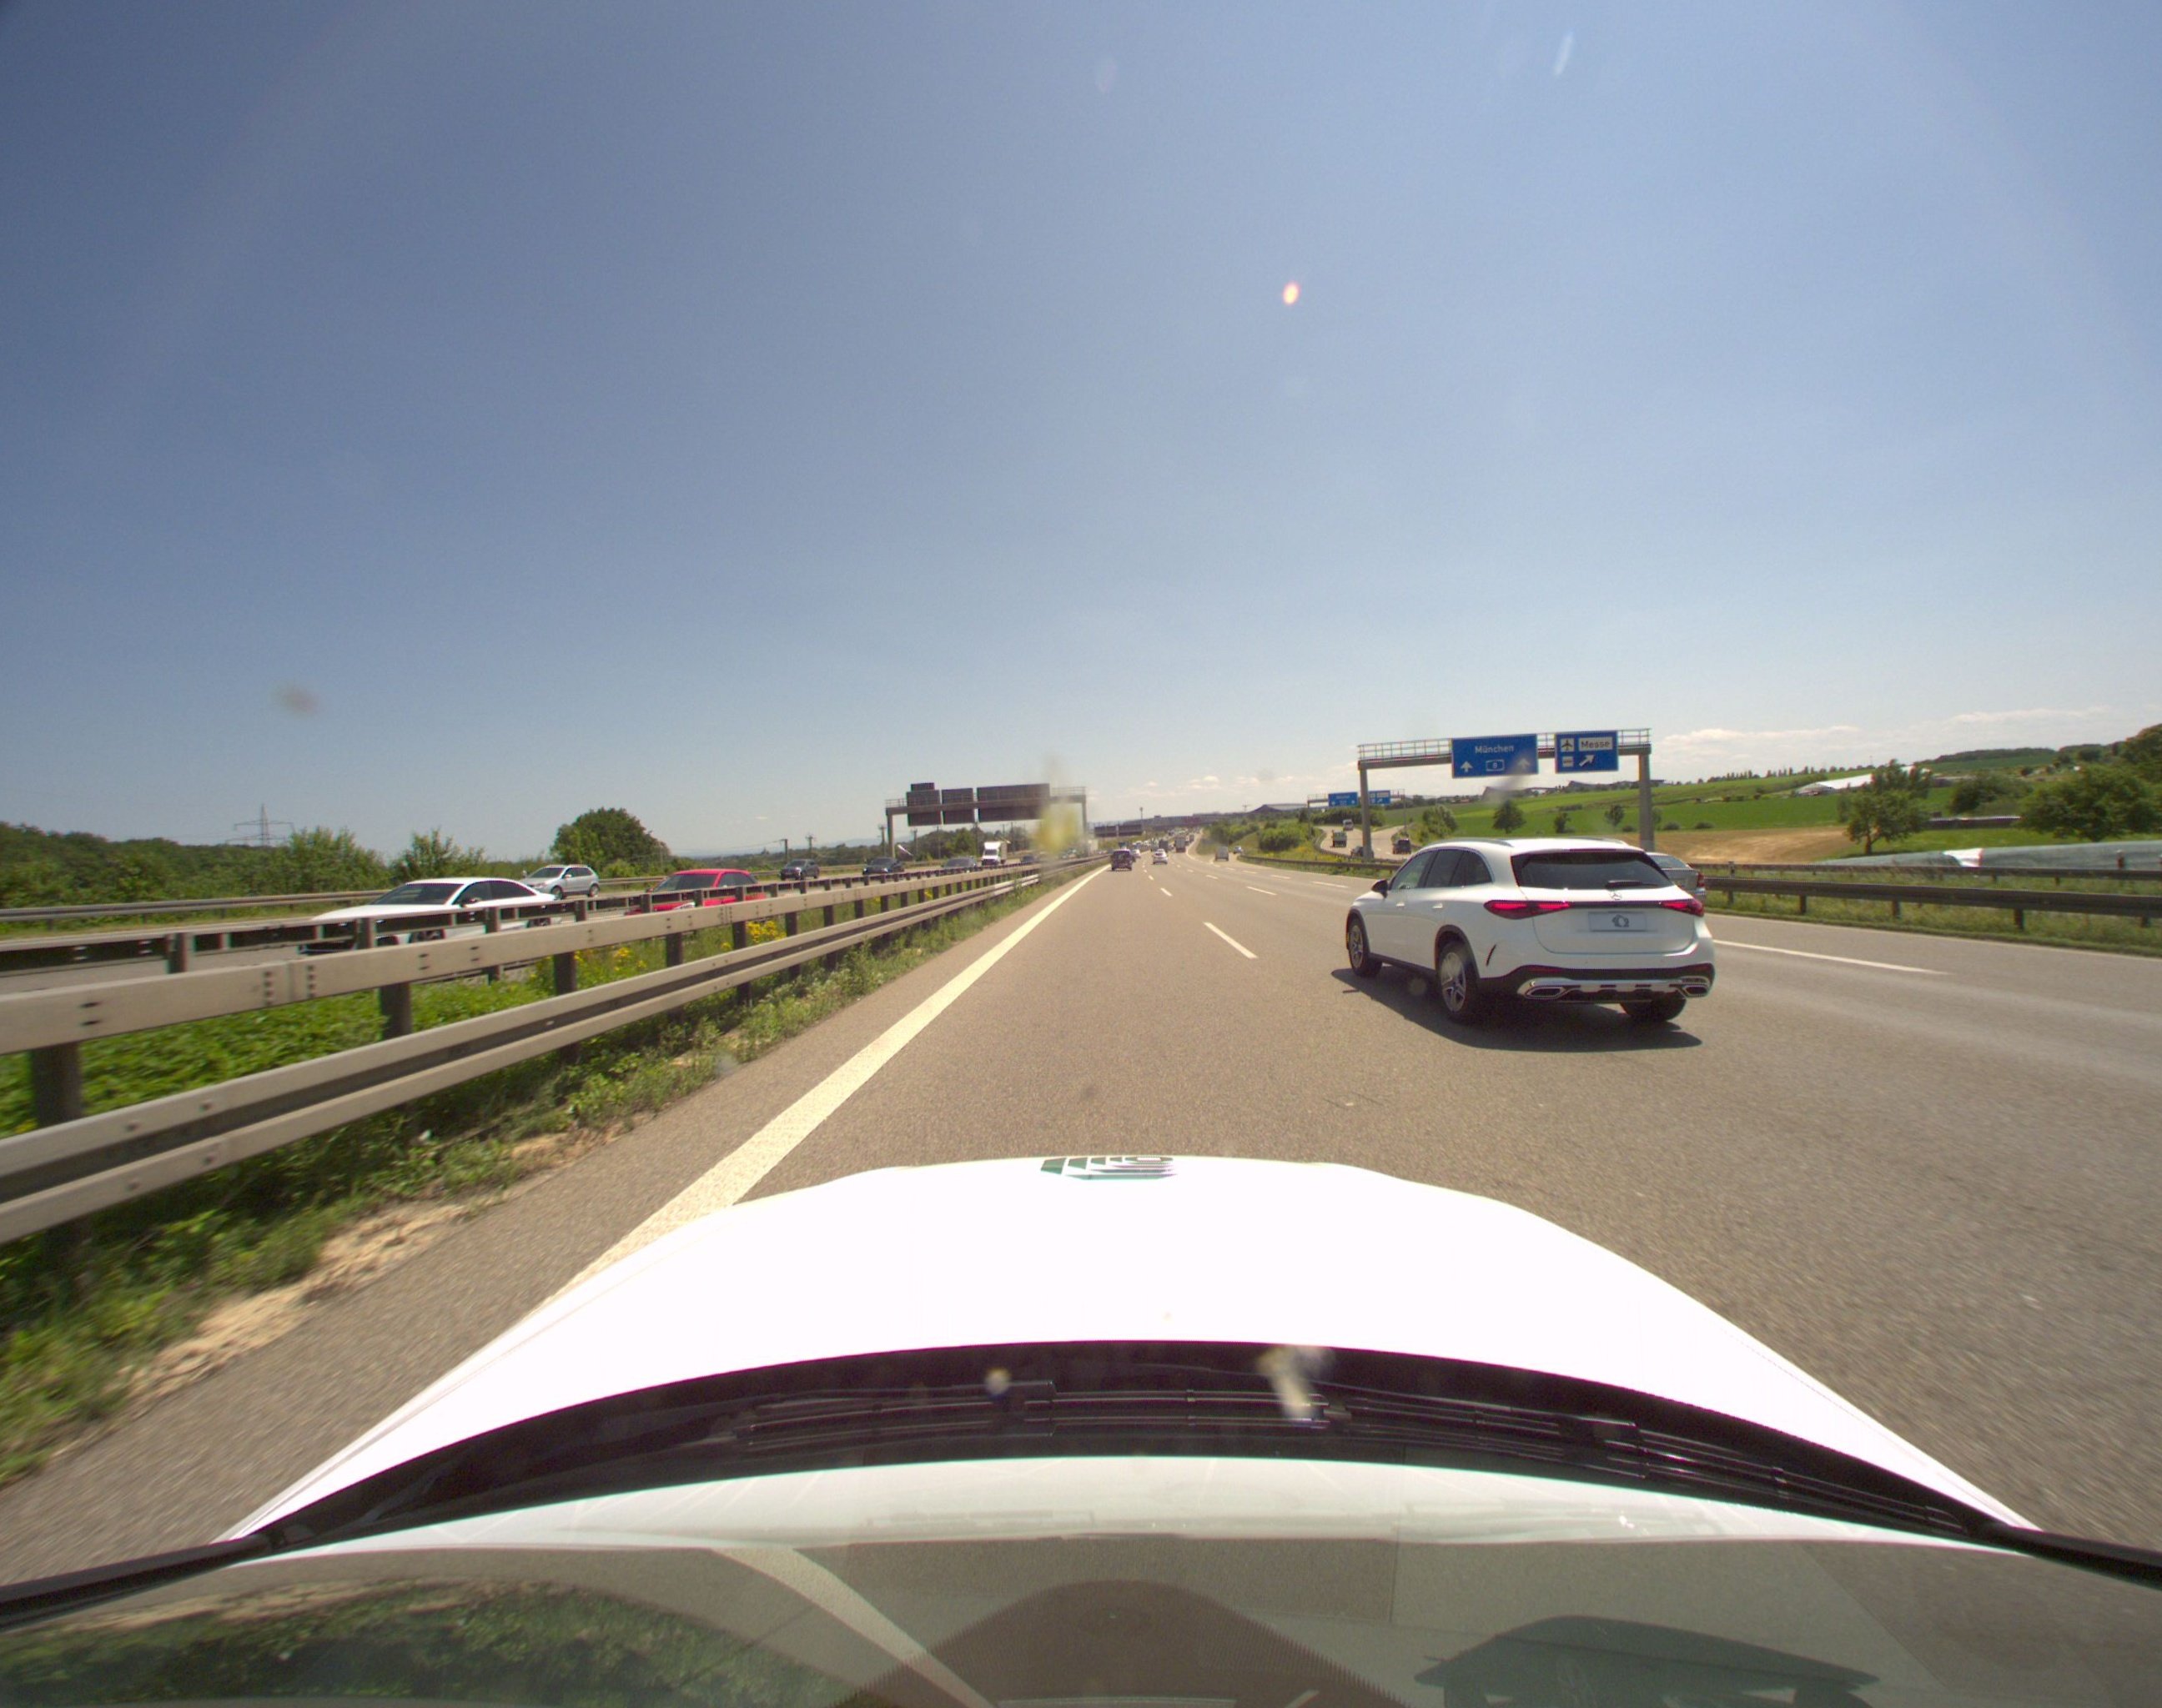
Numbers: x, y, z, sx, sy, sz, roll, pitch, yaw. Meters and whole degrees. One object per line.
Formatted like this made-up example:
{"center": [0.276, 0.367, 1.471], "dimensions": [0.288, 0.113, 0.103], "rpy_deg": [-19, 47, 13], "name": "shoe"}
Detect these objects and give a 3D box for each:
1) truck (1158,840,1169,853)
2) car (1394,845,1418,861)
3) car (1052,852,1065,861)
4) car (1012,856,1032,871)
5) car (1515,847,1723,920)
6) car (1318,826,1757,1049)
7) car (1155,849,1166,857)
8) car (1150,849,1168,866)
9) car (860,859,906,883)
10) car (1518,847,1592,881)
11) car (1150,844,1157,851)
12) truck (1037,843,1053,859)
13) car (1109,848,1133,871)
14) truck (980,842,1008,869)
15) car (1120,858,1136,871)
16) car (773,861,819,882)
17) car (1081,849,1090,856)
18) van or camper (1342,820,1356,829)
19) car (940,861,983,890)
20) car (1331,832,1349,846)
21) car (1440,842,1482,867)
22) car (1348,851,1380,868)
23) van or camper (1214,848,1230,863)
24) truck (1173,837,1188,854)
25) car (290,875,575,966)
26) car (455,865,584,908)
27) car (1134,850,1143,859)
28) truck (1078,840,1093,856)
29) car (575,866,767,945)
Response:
{"center": [21.439, -1.903, 211.109], "dimensions": [2.688, 3.109, 10.679], "rpy_deg": [-1, 0, 7], "name": "truck"}
{"center": [38.816, -0.102, 97.287], "dimensions": [1.926, 1.923, 4.193], "rpy_deg": [-1, -1, 12], "name": "car"}
{"center": [-3.890, 0.432, 142.449], "dimensions": [1.782, 1.464, 4.865], "rpy_deg": [-1, 0, 4], "name": "car"}
{"center": [-6.675, 1.098, 92.585], "dimensions": [1.741, 1.625, 4.834], "rpy_deg": [-1, -1, 2], "name": "car"}
{"center": [12.213, 0.621, 18.955], "dimensions": [1.779, 1.437, 4.849], "rpy_deg": [-1, 0, 2], "name": "car"}
{"center": [4.165, 0.648, 8.640], "dimensions": [1.892, 1.647, 4.999], "rpy_deg": [-1, -1, 1], "name": "car"}
{"center": [15.509, -0.194, 157.911], "dimensions": [1.971, 1.473, 4.008], "rpy_deg": [-2, 0, 7], "name": "car"}
{"center": [9.334, 0.464, 98.083], "dimensions": [1.919, 1.919, 4.520], "rpy_deg": [-1, -1, 2], "name": "car"}
{"center": [-14.094, 1.176, 58.175], "dimensions": [1.840, 1.655, 4.913], "rpy_deg": [-1, 0, 2], "name": "car"}
{"center": [23.809, 0.496, 41.081], "dimensions": [1.691, 1.575, 4.136], "rpy_deg": [-1, -1, 7], "name": "car"}
{"center": [21.479, -1.939, 241.393], "dimensions": [2.175, 2.002, 4.007], "rpy_deg": [-1, 2, 5], "name": "car"}
{"center": [-7.769, -0.670, 177.023], "dimensions": [2.309, 3.167, 8.123], "rpy_deg": [-1, 0, 5], "name": "truck"}
{"center": [3.472, 0.480, 71.216], "dimensions": [1.919, 1.919, 4.951], "rpy_deg": [-1, -1, 2], "name": "car"}
{"center": [-11.026, 0.228, 103.578], "dimensions": [2.366, 3.277, 7.665], "rpy_deg": [-1, -1, 2], "name": "truck"}
{"center": [6.479, 1.448, 112.542], "dimensions": [1.917, 1.627, 4.525], "rpy_deg": [-1, -1, 6], "name": "car"}
{"center": [-21.811, 1.312, 62.504], "dimensions": [1.840, 1.531, 4.225], "rpy_deg": [-1, 0, 2], "name": "car"}
{"center": [1.062, -0.292, 190.166], "dimensions": [1.734, 1.561, 4.005], "rpy_deg": [-1, 0, 4], "name": "car"}
{"center": [63.683, -6.939, 193.327], "dimensions": [2.513, 2.014, 4.473], "rpy_deg": [-1, -1, 10], "name": "van or camper"}
{"center": [-7.009, 1.227, 48.203], "dimensions": [1.668, 1.614, 4.366], "rpy_deg": [-1, -1, 3], "name": "car"}
{"center": [38.208, -2.176, 120.205], "dimensions": [1.981, 2.014, 4.012], "rpy_deg": [-1, -1, 11], "name": "car"}
{"center": [30.687, 0.065, 65.839], "dimensions": [1.928, 1.923, 4.188], "rpy_deg": [-1, -1, 8], "name": "car"}
{"center": [28.912, 0.561, 83.394], "dimensions": [1.986, 1.596, 4.002], "rpy_deg": [-1, -1, 2], "name": "car"}
{"center": [19.691, 0.157, 113.622], "dimensions": [2.143, 2.014, 4.315], "rpy_deg": [-1, -1, 9], "name": "van or camper"}
{"center": [26.778, -2.348, 219.366], "dimensions": [4.018, 4.261, 11.782], "rpy_deg": [-1, 2, 7], "name": "truck"}
{"center": [-12.356, 1.175, 16.037], "dimensions": [1.651, 1.403, 4.761], "rpy_deg": [-1, 0, 2], "name": "car"}
{"center": [-22.743, 1.277, 33.249], "dimensions": [2.097, 1.531, 4.374], "rpy_deg": [-1, 0, 2], "name": "car"}
{"center": [10.373, 0.134, 146.666], "dimensions": [1.568, 1.552, 3.970], "rpy_deg": [-1, -1, 5], "name": "car"}
{"center": [1.277, -1.762, 221.911], "dimensions": [3.231, 4.209, 7.708], "rpy_deg": [-1, 0, 7], "name": "truck"}
{"center": [-8.792, 1.022, 18.011], "dimensions": [1.651, 1.424, 4.778], "rpy_deg": [-1, 0, 2], "name": "car"}
